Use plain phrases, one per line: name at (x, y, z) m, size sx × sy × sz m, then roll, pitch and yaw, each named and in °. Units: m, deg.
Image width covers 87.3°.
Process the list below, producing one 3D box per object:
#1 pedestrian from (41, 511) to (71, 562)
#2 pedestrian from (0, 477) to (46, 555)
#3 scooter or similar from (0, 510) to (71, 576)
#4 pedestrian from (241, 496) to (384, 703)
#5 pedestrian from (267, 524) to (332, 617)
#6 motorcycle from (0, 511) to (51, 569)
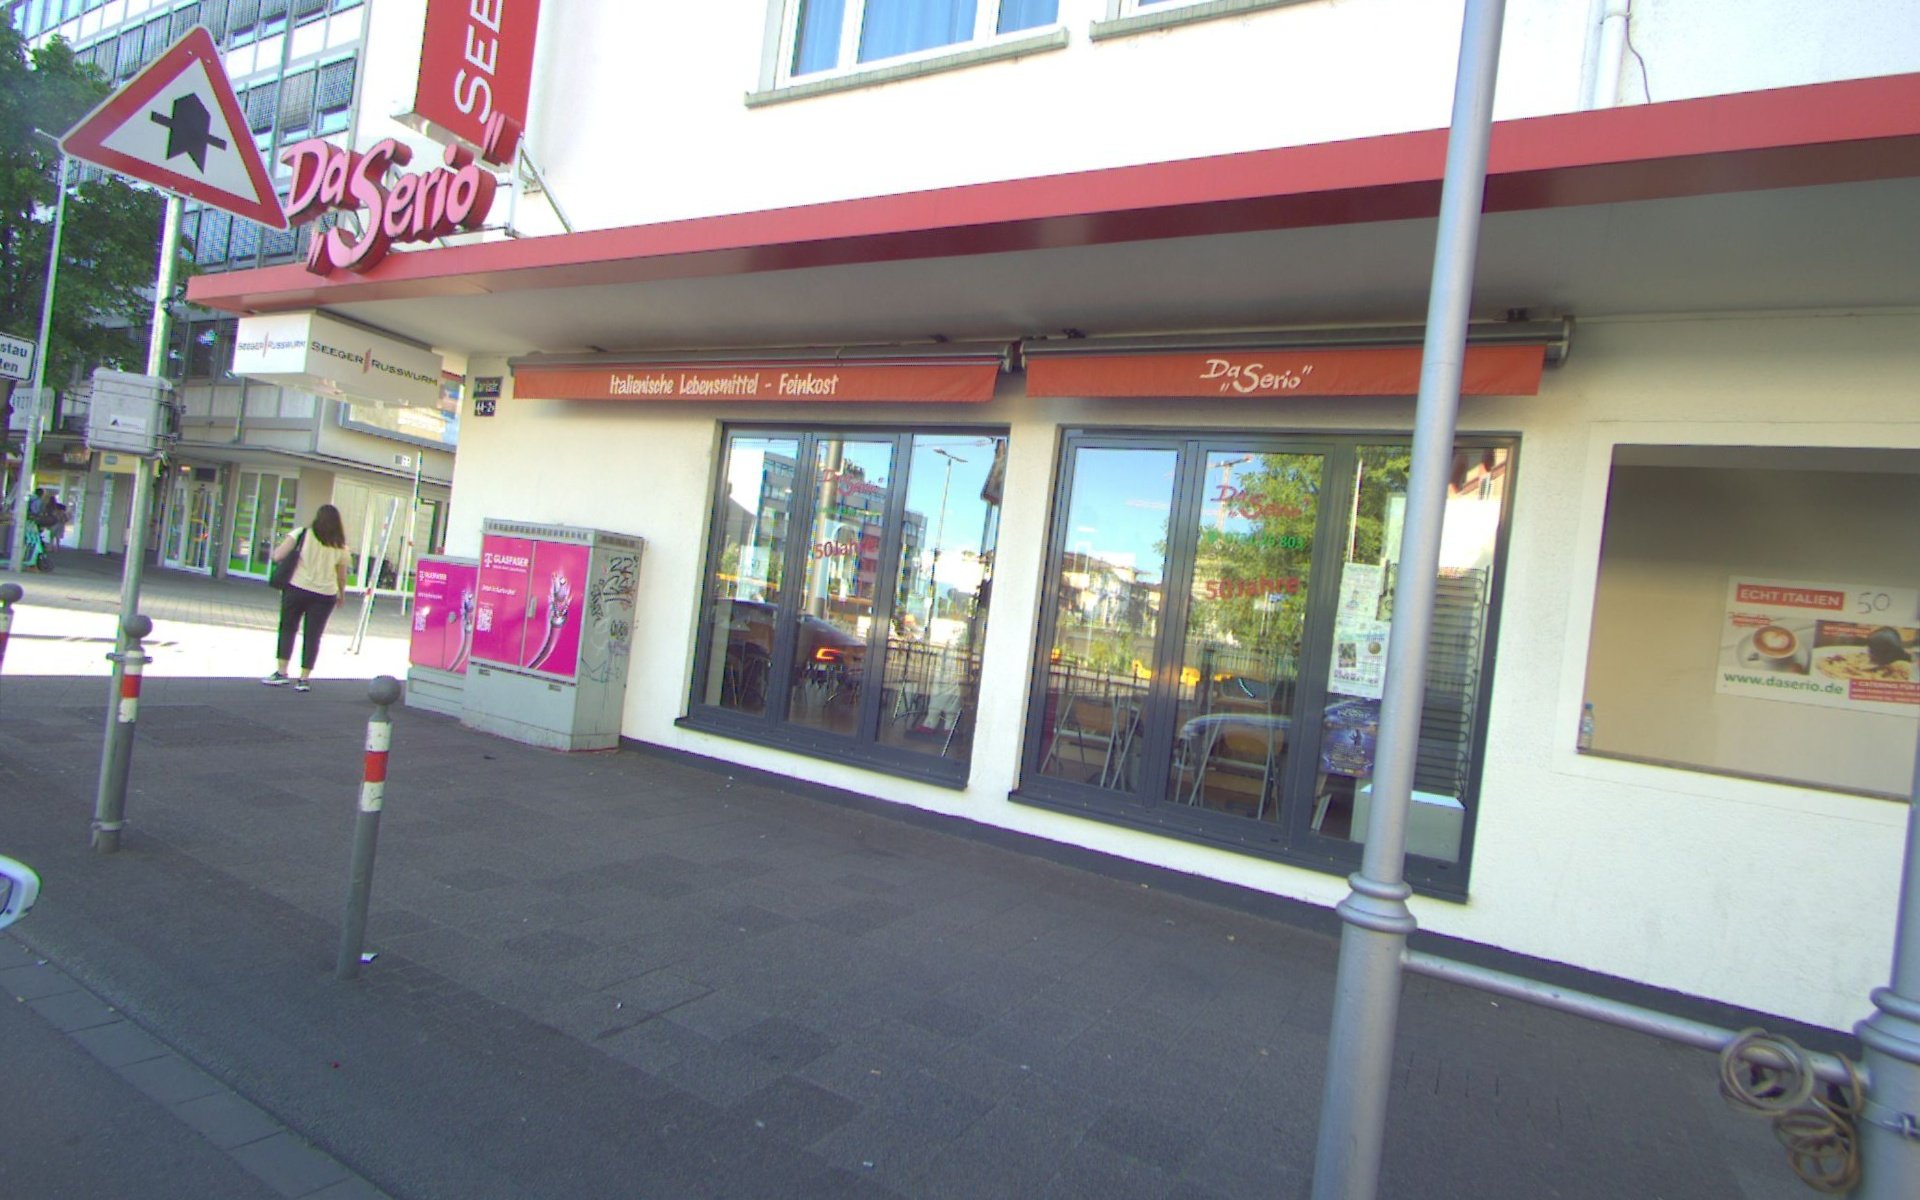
pedestrian at (-25.670, -1.810, 28.572) m, size 0.504 × 1.359 × 0.390 m, roll 6°, pitch -1°, yaw 34°
pedestrian at (-26.096, -2.341, 28.010) m, size 0.570 × 2.037 × 0.663 m, roll 6°, pitch -1°, yaw 34°
scooter or similar at (-19.940, -1.234, 21.177) m, size 1.628 × 1.229 × 0.640 m, roll 8°, pitch -1°, yaw -29°
pedestrian at (-6.113, -0.005, 9.494) m, size 0.909 × 1.773 × 1.029 m, roll 7°, pitch 0°, yaw -35°
pedestrian at (-13.104, -0.582, 19.976) m, size 0.884 × 1.687 × 0.801 m, roll 8°, pitch -1°, yaw -35°
motorcycle at (-21.466, -1.400, 22.345) m, size 0.532 × 1.186 × 1.711 m, roll 7°, pitch -2°, yaw 30°
